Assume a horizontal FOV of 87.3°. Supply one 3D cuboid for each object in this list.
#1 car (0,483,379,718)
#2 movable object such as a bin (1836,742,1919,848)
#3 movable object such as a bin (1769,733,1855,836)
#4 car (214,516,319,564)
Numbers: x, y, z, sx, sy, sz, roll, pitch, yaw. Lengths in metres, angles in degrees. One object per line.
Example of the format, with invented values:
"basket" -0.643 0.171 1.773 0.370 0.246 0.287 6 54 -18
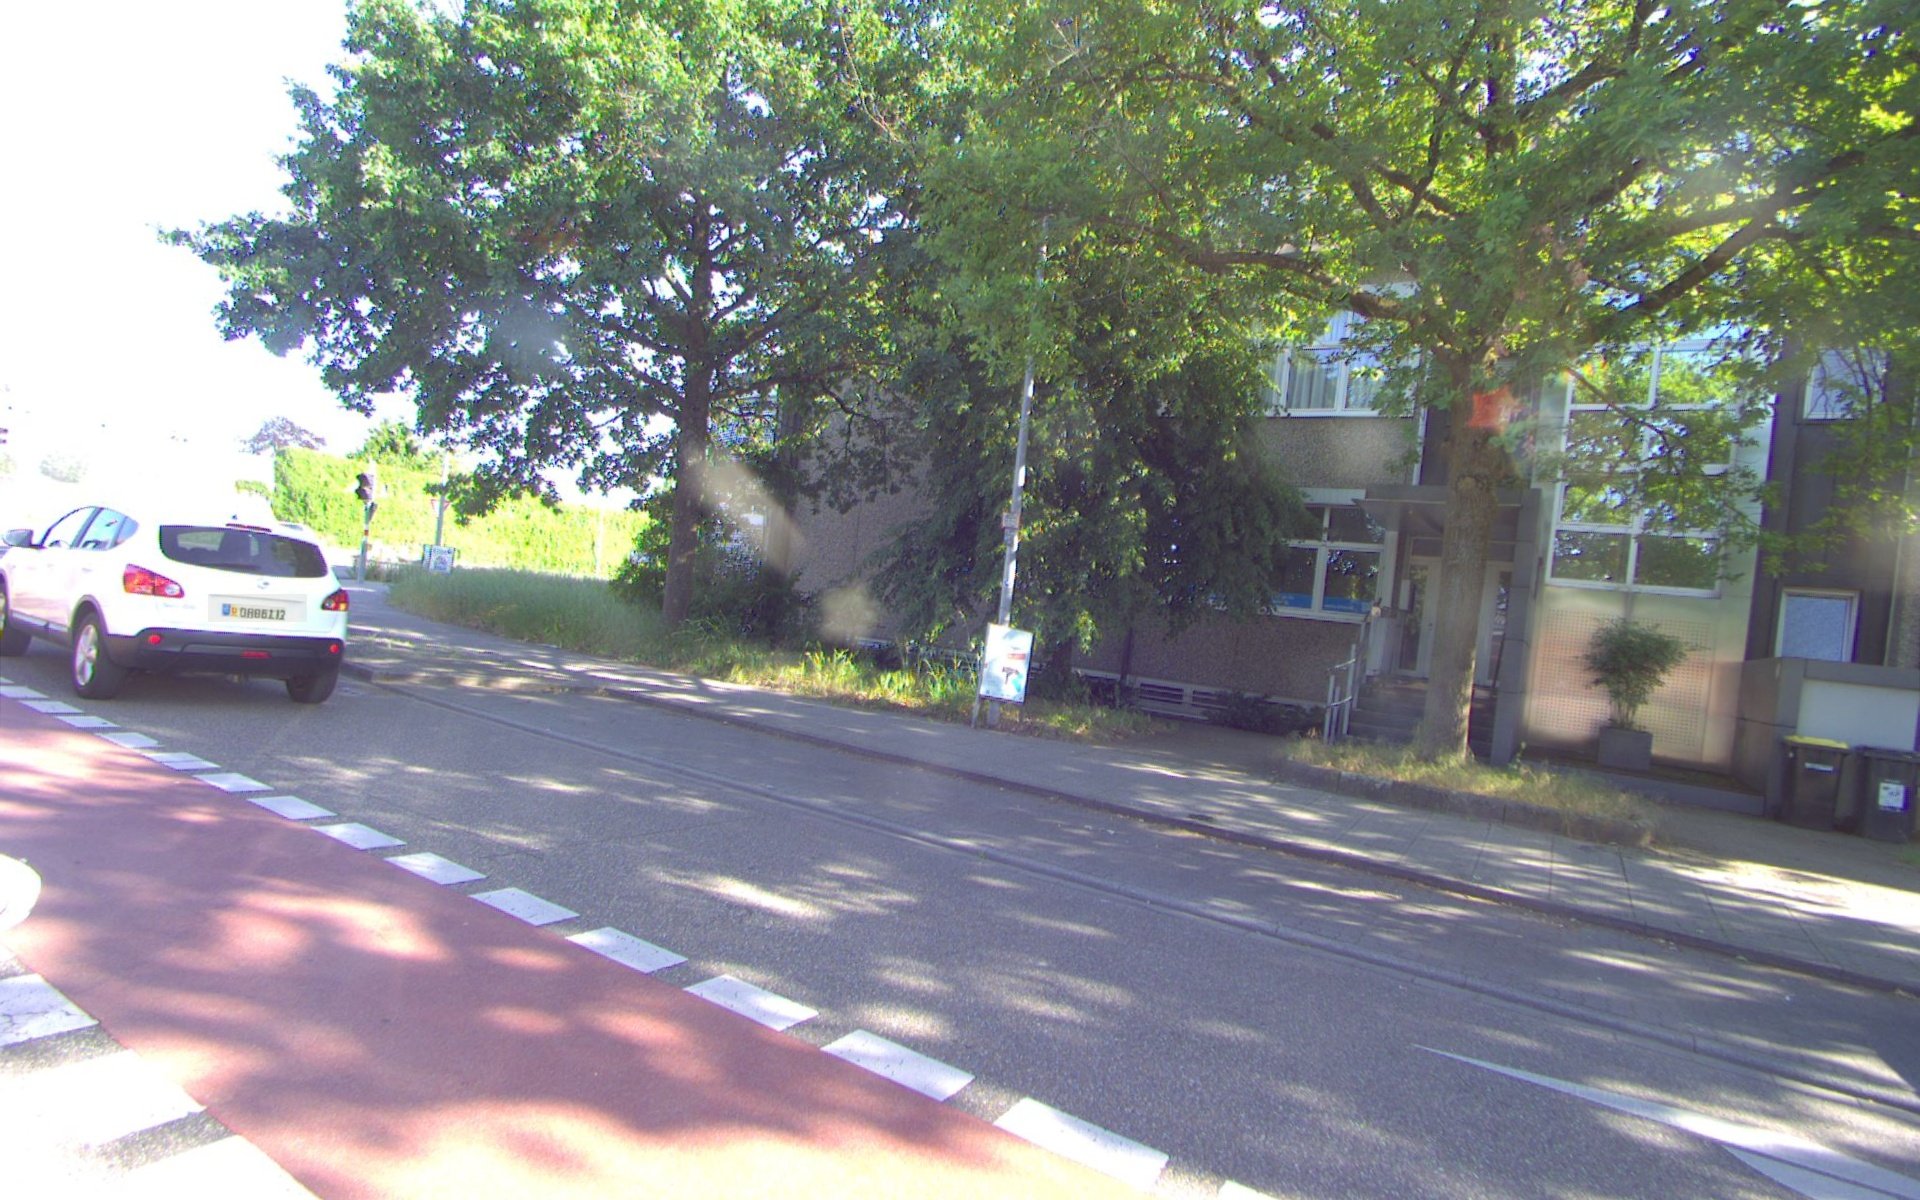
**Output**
"car" -7.277 -0.051 9.212 4.003 1.626 1.719 7 -1 35
"movable object such as a bin" 10.753 2.251 11.727 0.605 1.075 0.634 6 0 30
"movable object such as a bin" 10.165 2.183 12.021 0.575 1.070 0.625 7 0 30
"car" -36.730 -3.148 53.367 1.890 1.836 3.997 6 -2 29
